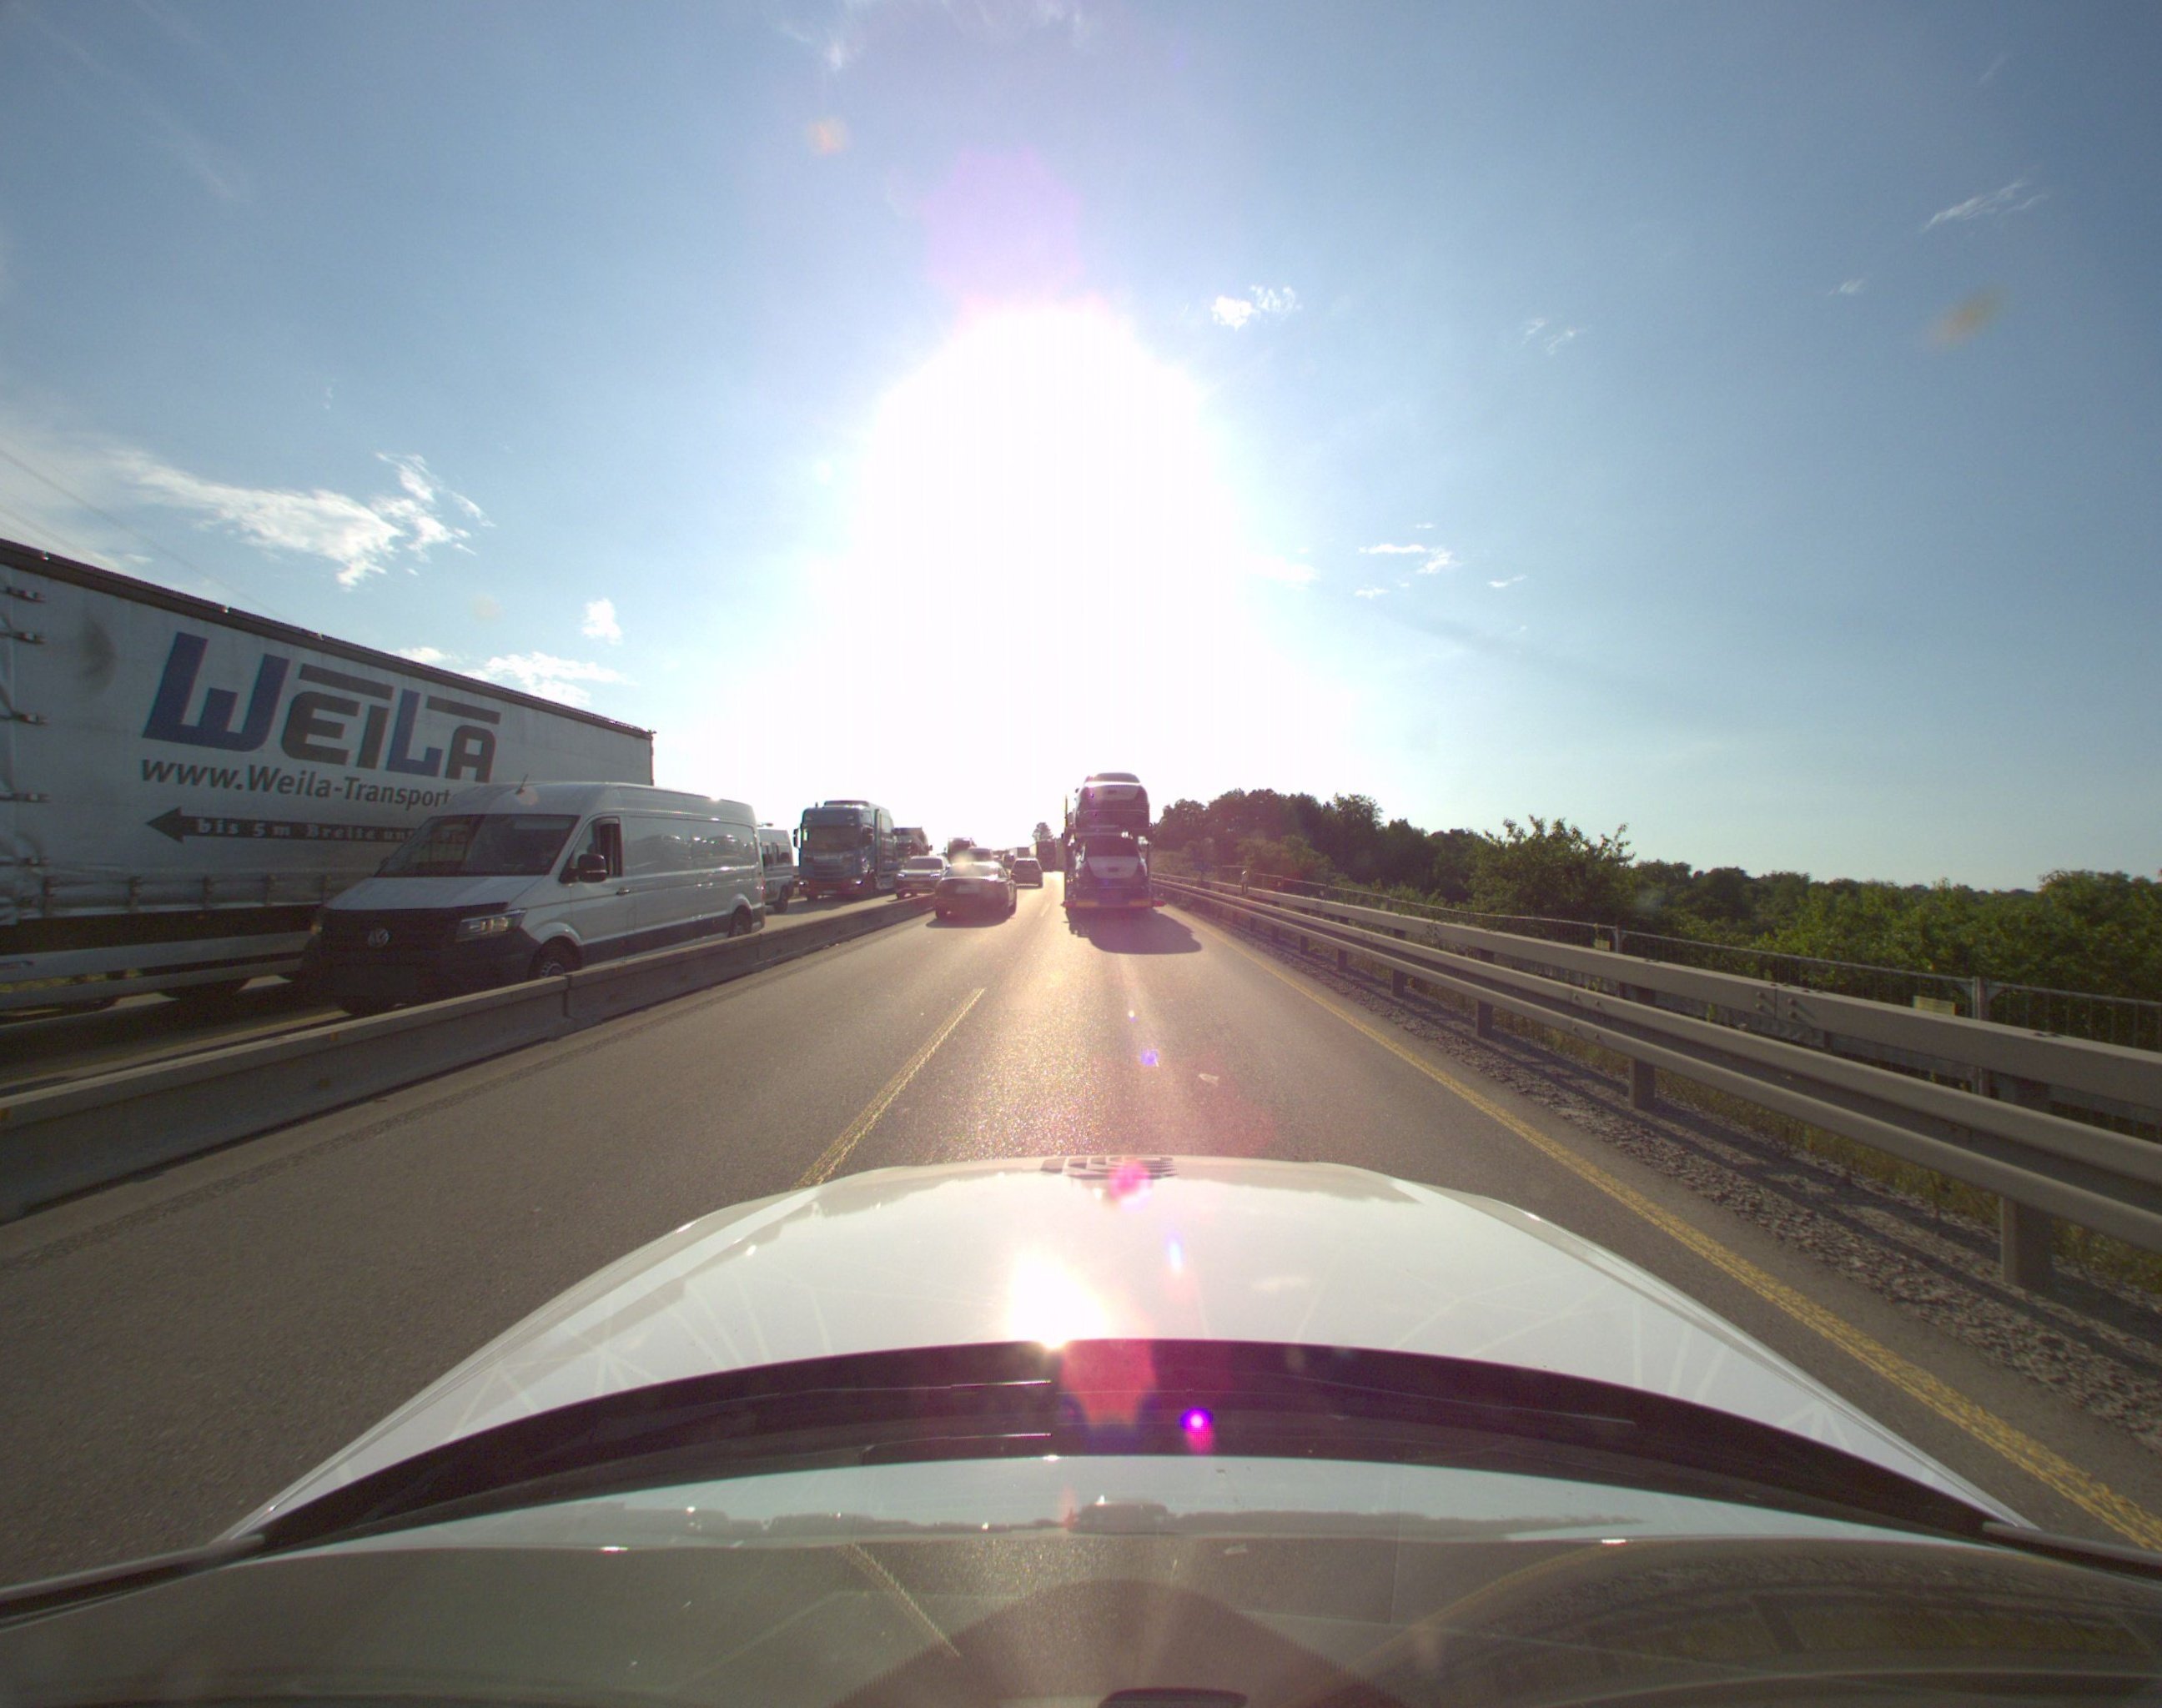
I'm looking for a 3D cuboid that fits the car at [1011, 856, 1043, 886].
[{"bbox_3d":[-3.027,0.918,45.033,1.689,1.596,3.993,-1,0,-5],"label":"car"}]

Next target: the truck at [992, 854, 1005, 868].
[{"bbox_3d":[-19.743,1.707,194.819,2.585,3.170,6.668,-1,0,-3],"label":"truck"}]

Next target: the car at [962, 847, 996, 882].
[{"bbox_3d":[-7.710,0.774,61.859,2.100,2.482,6.059,-1,0,-3],"label":"car"}]

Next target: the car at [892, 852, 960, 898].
[{"bbox_3d":[-6.207,0.820,33.119,1.864,1.694,4.594,-1,0,-1],"label":"car"}]

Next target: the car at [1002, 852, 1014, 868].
[{"bbox_3d":[-11.767,1.041,131.159,1.918,2.492,5.398,-1,0,-5],"label":"car"}]

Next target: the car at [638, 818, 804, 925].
[{"bbox_3d":[-9.639,0.441,22.466,2.151,2.557,5.586,-1,0,-1],"label":"car"}]

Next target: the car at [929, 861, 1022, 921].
[{"bbox_3d":[-2.772,0.920,22.494,1.929,1.398,4.959,-1,0,-1],"label":"car"}]

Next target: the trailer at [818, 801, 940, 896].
[{"bbox_3d":[-9.623,-0.180,41.146,2.687,3.873,15.380,-1,0,-1],"label":"trailer"}]

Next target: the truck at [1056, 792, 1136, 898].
[{"bbox_3d":[0.581,-0.286,34.553,2.828,3.792,9.986,-1,0,0],"label":"truck"}]

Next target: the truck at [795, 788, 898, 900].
[{"bbox_3d":[-9.243,-0.356,32.751,2.496,4.065,5.880,-1,-1,-1],"label":"truck"}]

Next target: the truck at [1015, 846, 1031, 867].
[{"bbox_3d":[-10.277,0.414,145.766,2.524,3.648,8.896,-1,0,-2],"label":"truck"}]

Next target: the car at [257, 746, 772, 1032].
[{"bbox_3d":[-6.315,0.328,10.619,2.051,2.500,6.772,-1,0,-1],"label":"car"}]

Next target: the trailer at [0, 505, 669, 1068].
[{"bbox_3d":[-9.055,-0.468,8.196,2.299,4.130,14.599,-1,0,0],"label":"trailer"}]

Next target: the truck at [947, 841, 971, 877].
[{"bbox_3d":[-13.059,0.544,87.449,2.312,3.607,11.938,-1,0,-8],"label":"truck"}]

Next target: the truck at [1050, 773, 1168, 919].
[{"bbox_3d":[0.615,-0.152,25.031,2.791,3.497,10.600,-1,0,-1],"label":"truck"}]

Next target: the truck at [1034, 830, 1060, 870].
[{"bbox_3d":[-4.652,-0.445,111.795,3.278,5.237,9.926,-1,0,-2],"label":"truck"}]
